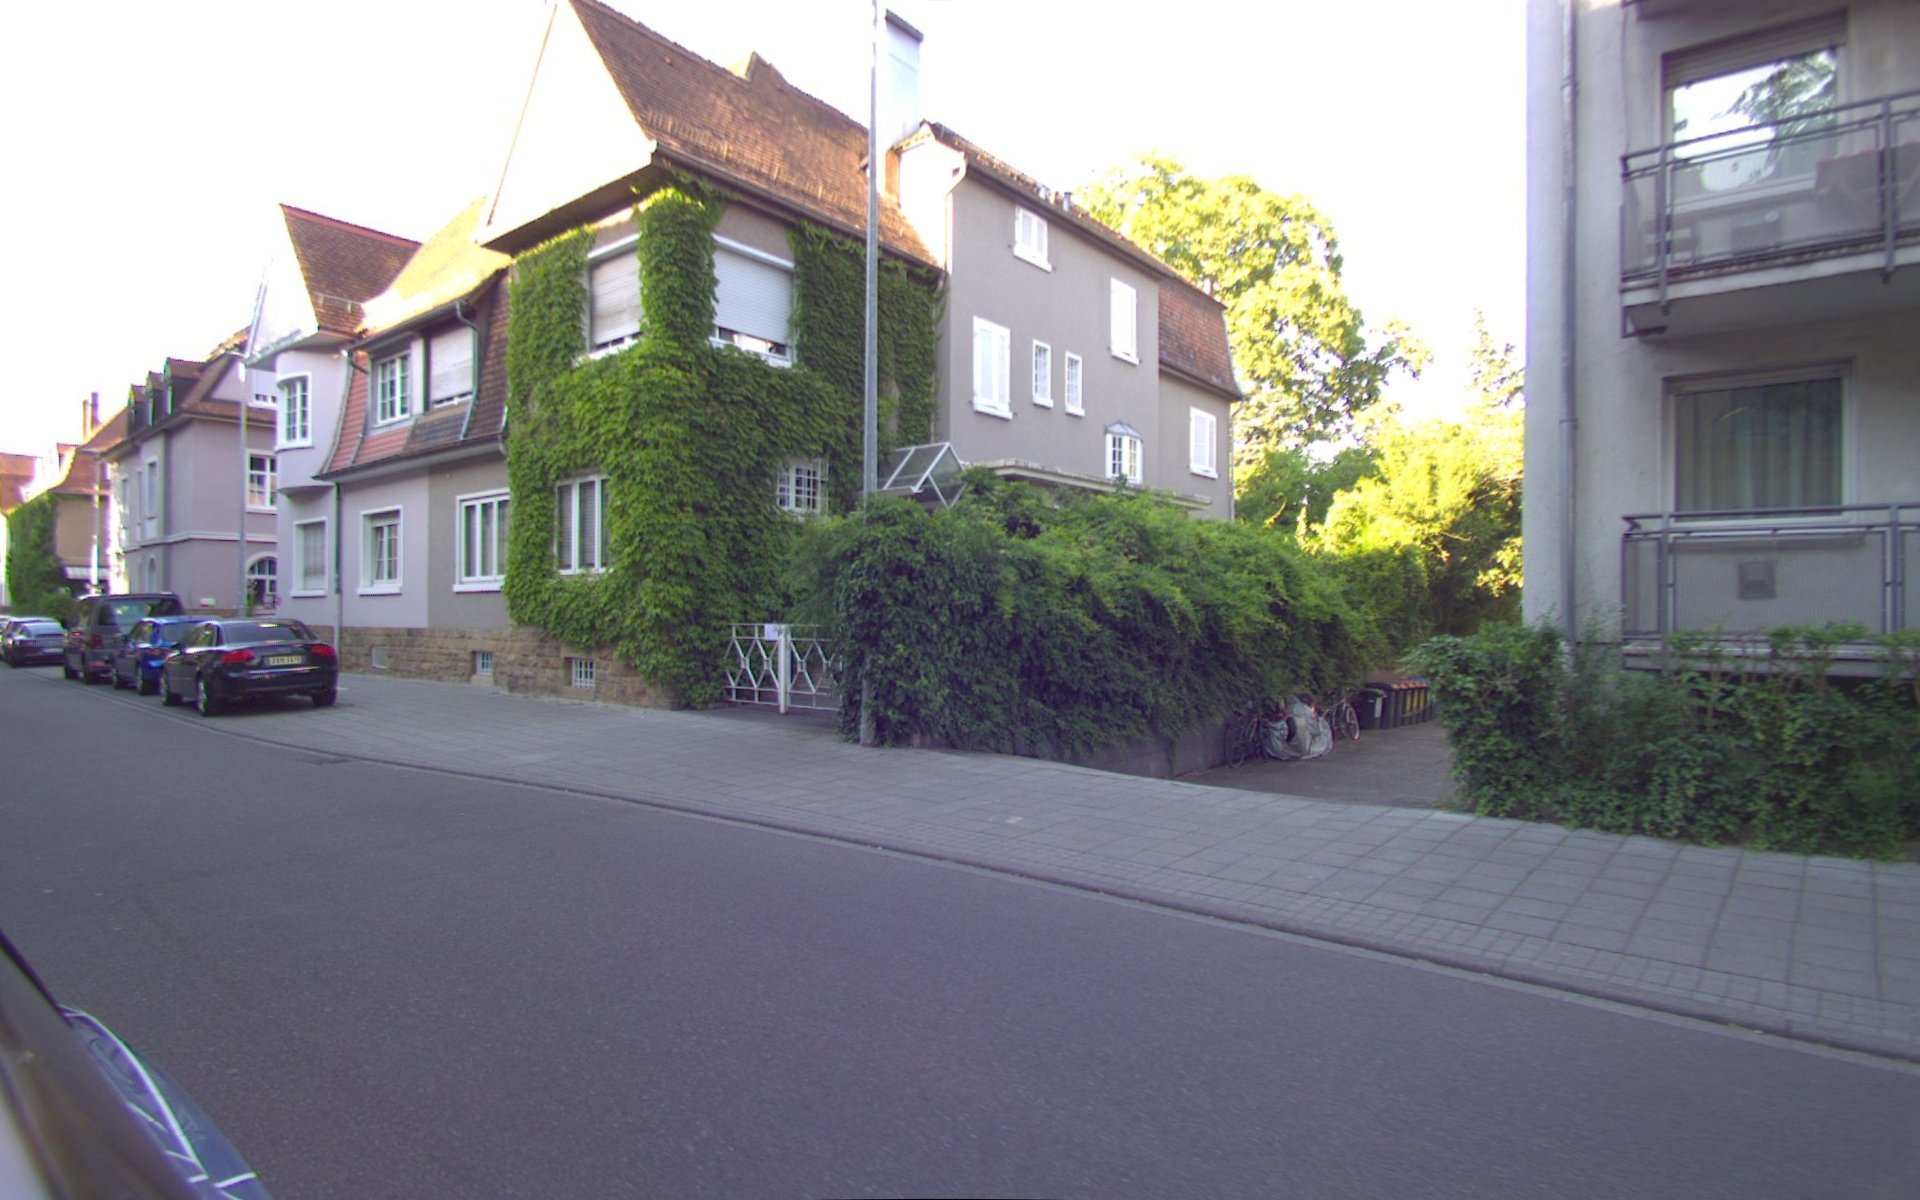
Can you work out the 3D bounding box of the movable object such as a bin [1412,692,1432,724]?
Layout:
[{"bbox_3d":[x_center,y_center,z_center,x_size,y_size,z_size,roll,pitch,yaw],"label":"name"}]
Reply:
[{"bbox_3d":[11.535,2.691,25.246,0.367,0.764,0.359,-1,-4,42],"label":"movable object such as a bin"}]

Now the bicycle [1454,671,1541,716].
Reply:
[{"bbox_3d":[14.894,2.578,28.094,2.068,1.028,0.565,1,3,42],"label":"bicycle"}]

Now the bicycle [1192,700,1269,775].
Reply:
[{"bbox_3d":[4.613,2.294,17.187,0.514,1.027,1.913,1,0,39],"label":"bicycle"}]

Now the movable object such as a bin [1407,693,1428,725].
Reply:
[{"bbox_3d":[11.277,2.677,24.954,0.367,0.764,0.359,-1,-4,42],"label":"movable object such as a bin"}]

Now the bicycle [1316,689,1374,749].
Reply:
[{"bbox_3d":[7.865,2.398,20.636,0.514,1.027,1.913,1,0,39],"label":"bicycle"}]

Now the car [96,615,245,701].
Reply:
[{"bbox_3d":[-15.898,1.083,20.321,4.022,1.475,1.590,0,2,41],"label":"car"}]

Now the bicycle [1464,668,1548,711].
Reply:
[{"bbox_3d":[15.778,2.566,29.279,2.068,1.028,0.608,1,3,42],"label":"bicycle"}]

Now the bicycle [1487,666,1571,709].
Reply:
[{"bbox_3d":[16.704,2.553,29.726,2.068,1.028,0.608,1,3,42],"label":"bicycle"}]

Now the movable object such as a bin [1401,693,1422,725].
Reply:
[{"bbox_3d":[11.009,2.653,24.666,0.375,0.764,0.359,-1,-4,42],"label":"movable object such as a bin"}]

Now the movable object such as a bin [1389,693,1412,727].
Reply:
[{"bbox_3d":[10.476,2.611,24.072,0.398,0.779,0.359,-1,-4,42],"label":"movable object such as a bin"}]

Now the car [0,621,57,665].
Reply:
[{"bbox_3d":[-32.169,1.442,34.524,3.944,1.381,1.522,-1,0,41],"label":"car"}]

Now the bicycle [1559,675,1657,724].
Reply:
[{"bbox_3d":[16.735,2.550,26.181,2.068,1.028,0.634,1,3,42],"label":"bicycle"}]

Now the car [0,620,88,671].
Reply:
[{"bbox_3d":[-28.246,1.343,31.014,4.332,1.381,1.697,-1,0,41],"label":"car"}]

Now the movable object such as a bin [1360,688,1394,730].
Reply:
[{"bbox_3d":[9.498,2.474,23.027,0.576,0.886,0.488,0,-3,42],"label":"movable object such as a bin"}]

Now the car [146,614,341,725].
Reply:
[{"bbox_3d":[-11.530,1.000,16.188,4.024,1.439,1.728,0,2,43],"label":"car"}]

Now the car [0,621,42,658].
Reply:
[{"bbox_3d":[-38.211,1.581,40.512,3.944,1.381,1.697,-1,0,41],"label":"car"}]

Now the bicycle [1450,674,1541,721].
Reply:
[{"bbox_3d":[14.310,2.585,27.094,2.068,1.028,0.634,1,3,42],"label":"bicycle"}]

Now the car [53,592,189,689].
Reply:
[{"bbox_3d":[-19.472,0.869,23.425,4.309,1.987,1.697,0,2,41],"label":"car"}]

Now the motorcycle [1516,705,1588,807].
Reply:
[{"bbox_3d":[8.532,2.195,14.565,0.757,1.261,1.575,-1,-3,35],"label":"motorcycle"}]

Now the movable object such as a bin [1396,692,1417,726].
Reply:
[{"bbox_3d":[10.752,2.628,24.370,0.381,0.779,0.359,-1,-4,42],"label":"movable object such as a bin"}]

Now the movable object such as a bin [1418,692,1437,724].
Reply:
[{"bbox_3d":[11.794,2.718,25.551,0.346,0.764,0.359,-1,-4,42],"label":"movable object such as a bin"}]

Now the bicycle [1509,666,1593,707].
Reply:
[{"bbox_3d":[17.512,2.542,30.015,2.068,1.028,0.561,1,3,42],"label":"bicycle"}]
